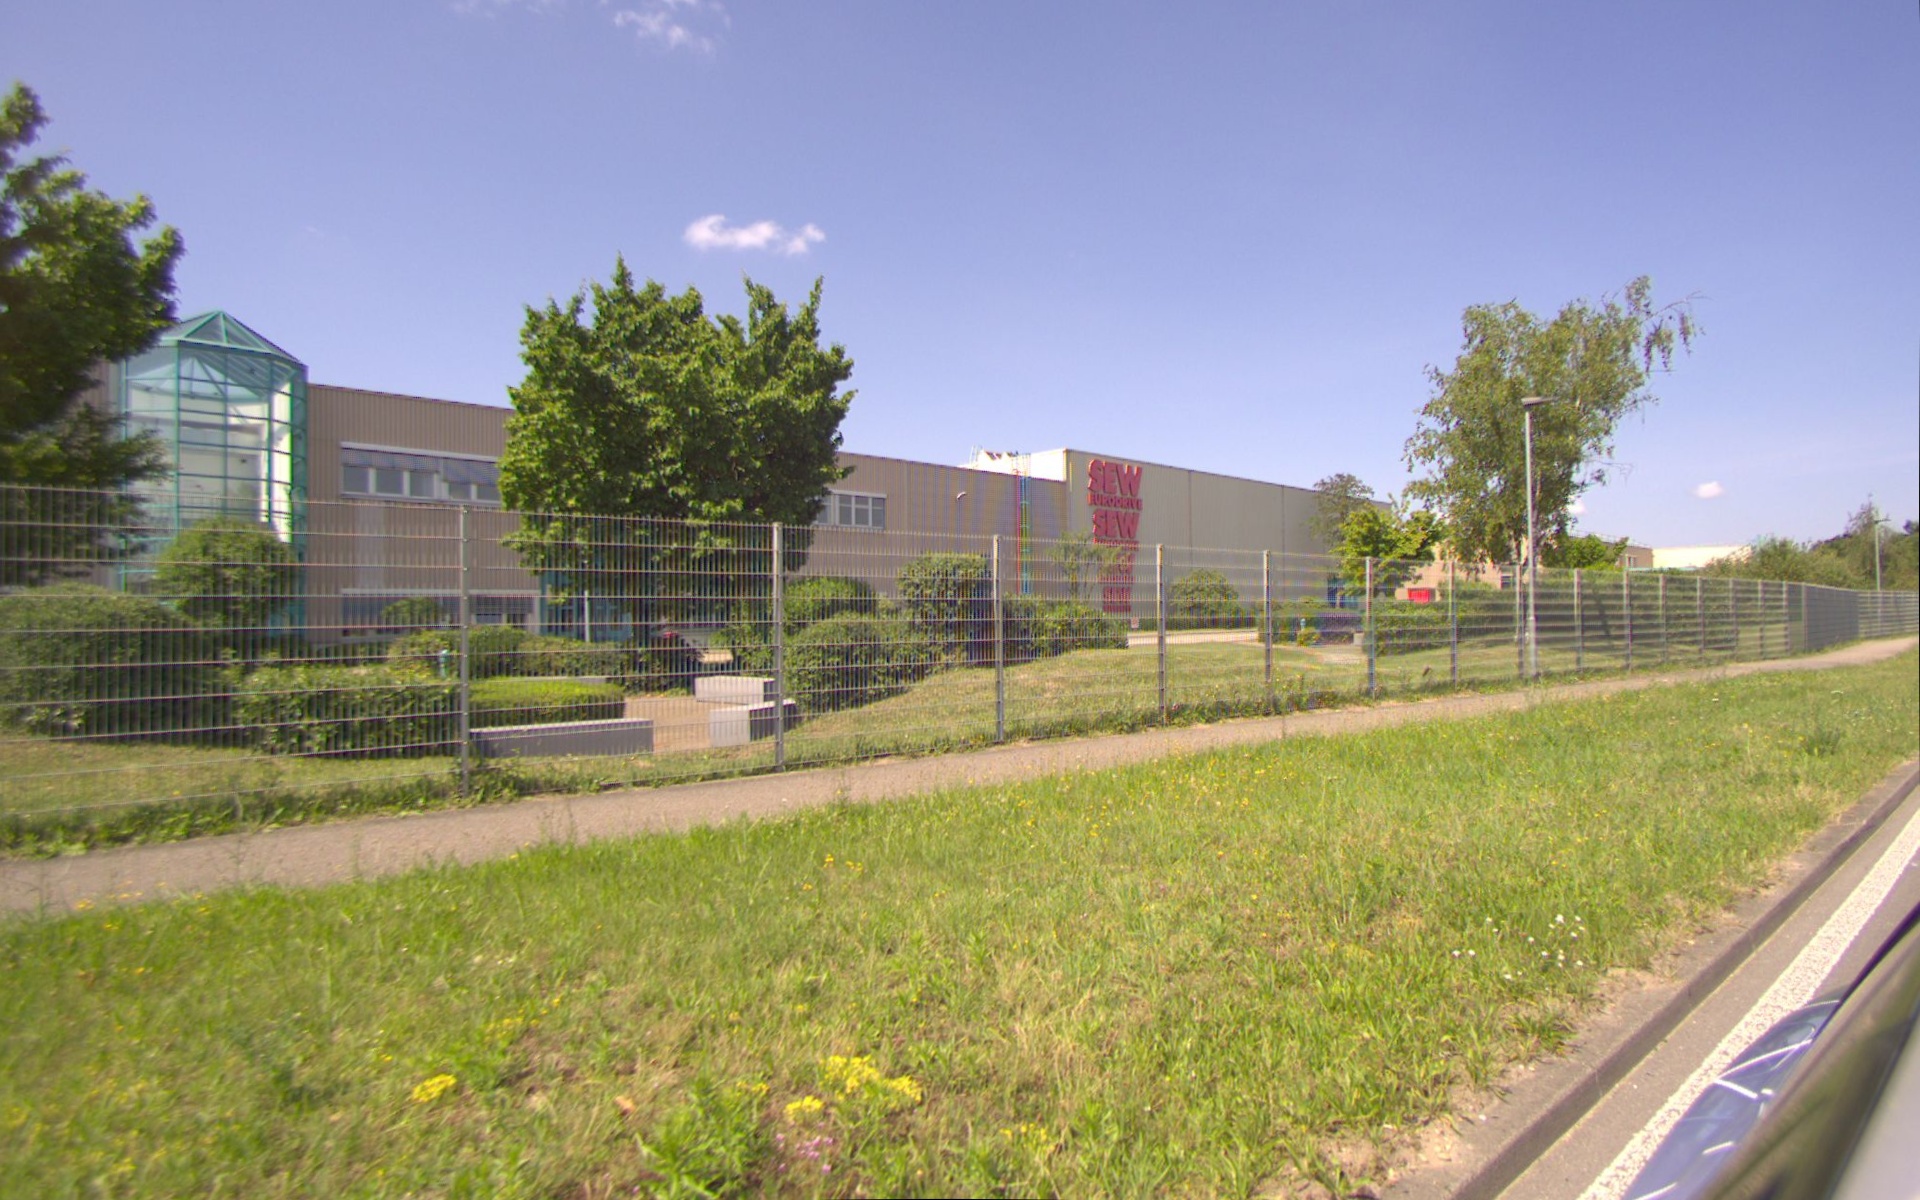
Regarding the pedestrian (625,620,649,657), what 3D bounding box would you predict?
[{"bbox_3d":[-12.366,1.464,38.712,0.718,1.409,0.514,0,-2,-43],"label":"pedestrian"}]
